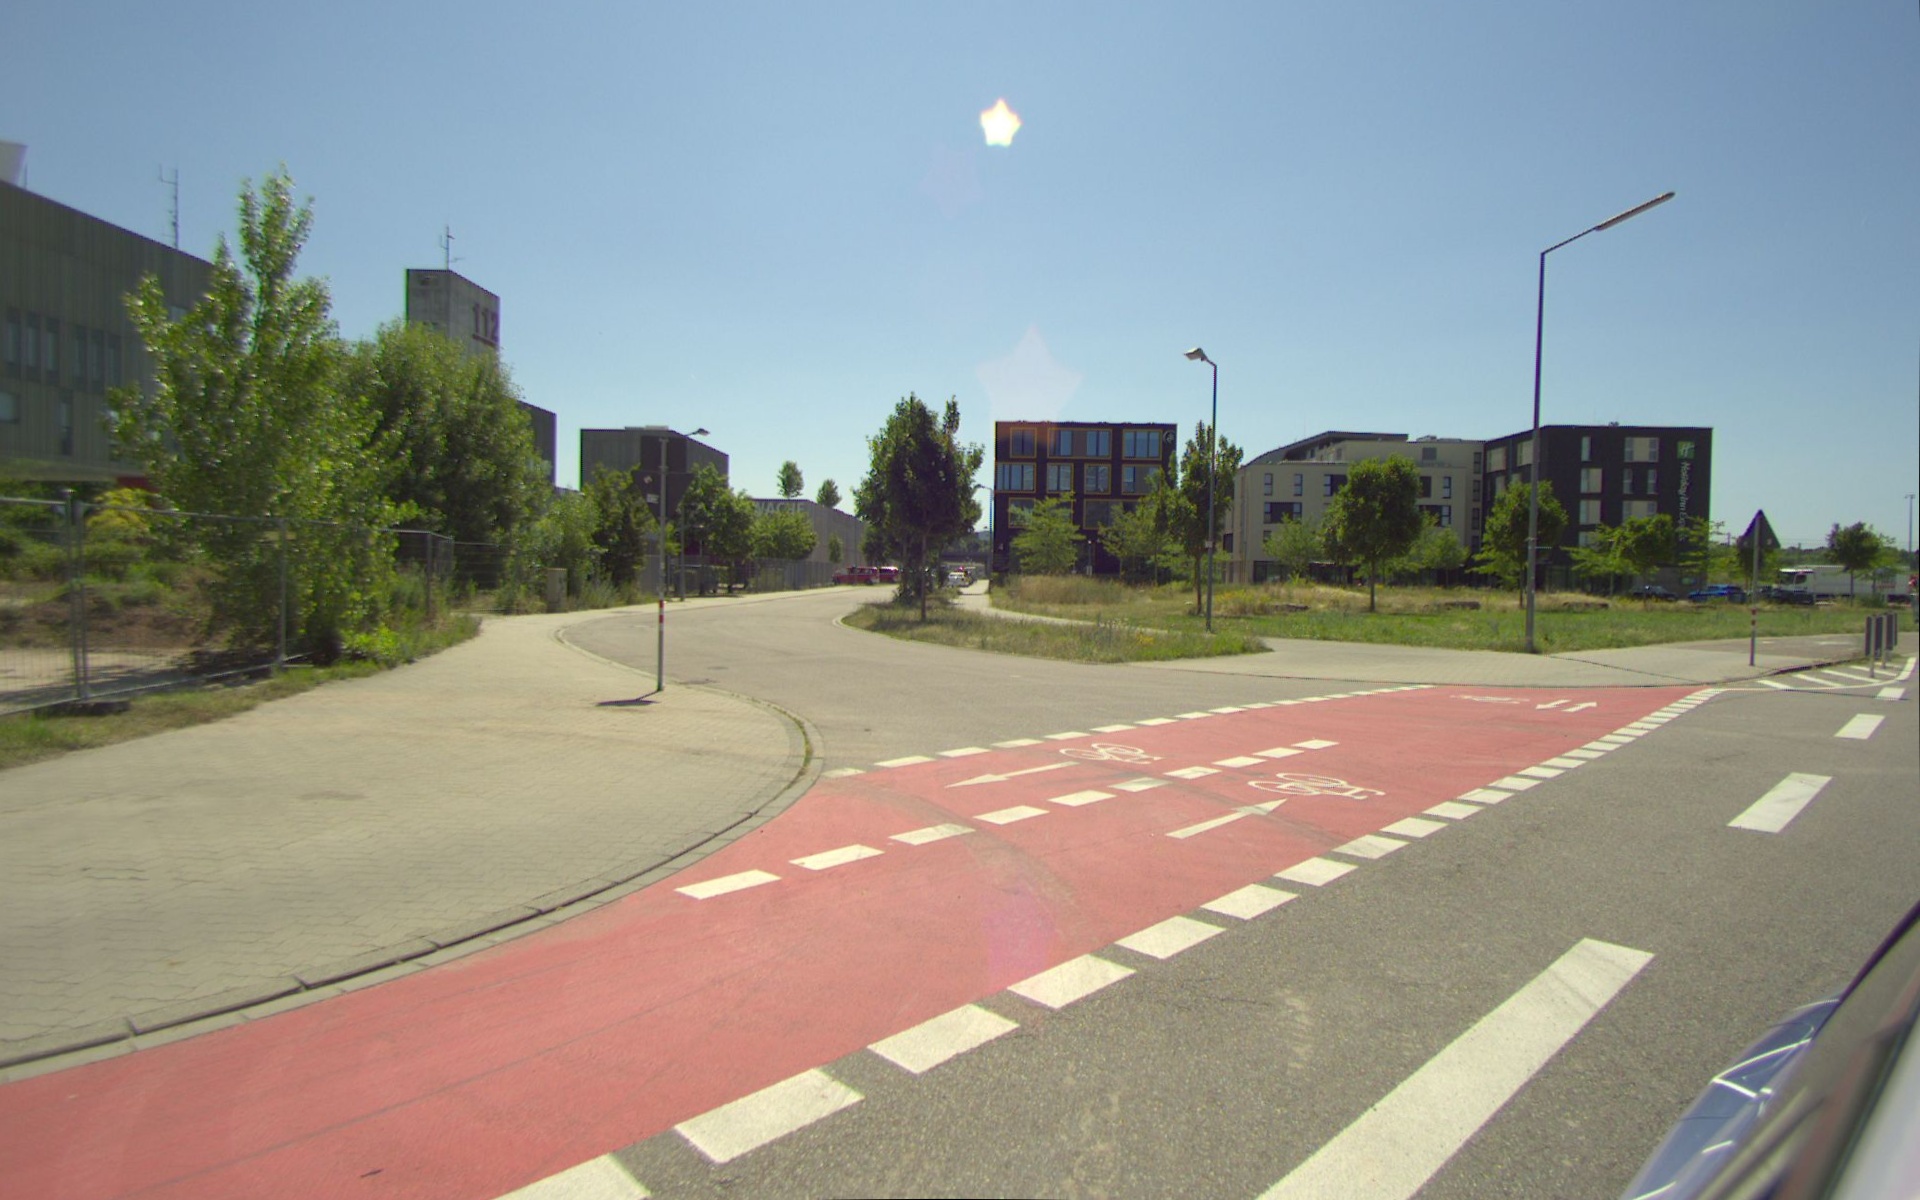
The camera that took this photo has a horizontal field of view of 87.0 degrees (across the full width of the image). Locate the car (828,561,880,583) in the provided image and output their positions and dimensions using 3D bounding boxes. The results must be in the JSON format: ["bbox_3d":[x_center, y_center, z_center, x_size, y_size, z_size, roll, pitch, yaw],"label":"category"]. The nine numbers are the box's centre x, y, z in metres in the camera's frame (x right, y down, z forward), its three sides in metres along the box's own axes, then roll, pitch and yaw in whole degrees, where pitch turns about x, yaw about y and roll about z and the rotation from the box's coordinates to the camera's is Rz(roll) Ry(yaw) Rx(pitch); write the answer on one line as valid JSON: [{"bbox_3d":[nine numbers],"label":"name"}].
[{"bbox_3d":[-10.979,-2.899,105.059,5.067,2.141,2.235,1,1,4],"label":"car"}]

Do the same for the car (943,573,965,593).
[{"bbox_3d":[-0.549,-1.695,99.958,1.924,1.953,3.490,0,0,3],"label":"car"}]

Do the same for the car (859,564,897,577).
[{"bbox_3d":[-9.938,-3.576,123.072,4.439,1.529,1.804,1,2,0],"label":"car"}]

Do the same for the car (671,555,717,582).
[{"bbox_3d":[-15.829,-1.906,60.320,1.624,1.509,4.001,2,2,0],"label":"car"}]

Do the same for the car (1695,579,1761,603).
[{"bbox_3d":[57.833,-0.685,76.303,1.918,1.672,4.071,1,2,1],"label":"car"}]

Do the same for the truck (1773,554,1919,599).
[{"bbox_3d":[76.696,-2.016,86.121,11.920,3.503,3.018,1,3,4],"label":"truck"}]

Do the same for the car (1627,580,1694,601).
[{"bbox_3d":[52.941,-0.728,76.546,1.923,1.462,4.131,1,2,-4],"label":"car"}]

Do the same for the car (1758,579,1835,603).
[{"bbox_3d":[62.374,-0.699,75.570,1.994,1.581,4.509,1,2,0],"label":"car"}]
